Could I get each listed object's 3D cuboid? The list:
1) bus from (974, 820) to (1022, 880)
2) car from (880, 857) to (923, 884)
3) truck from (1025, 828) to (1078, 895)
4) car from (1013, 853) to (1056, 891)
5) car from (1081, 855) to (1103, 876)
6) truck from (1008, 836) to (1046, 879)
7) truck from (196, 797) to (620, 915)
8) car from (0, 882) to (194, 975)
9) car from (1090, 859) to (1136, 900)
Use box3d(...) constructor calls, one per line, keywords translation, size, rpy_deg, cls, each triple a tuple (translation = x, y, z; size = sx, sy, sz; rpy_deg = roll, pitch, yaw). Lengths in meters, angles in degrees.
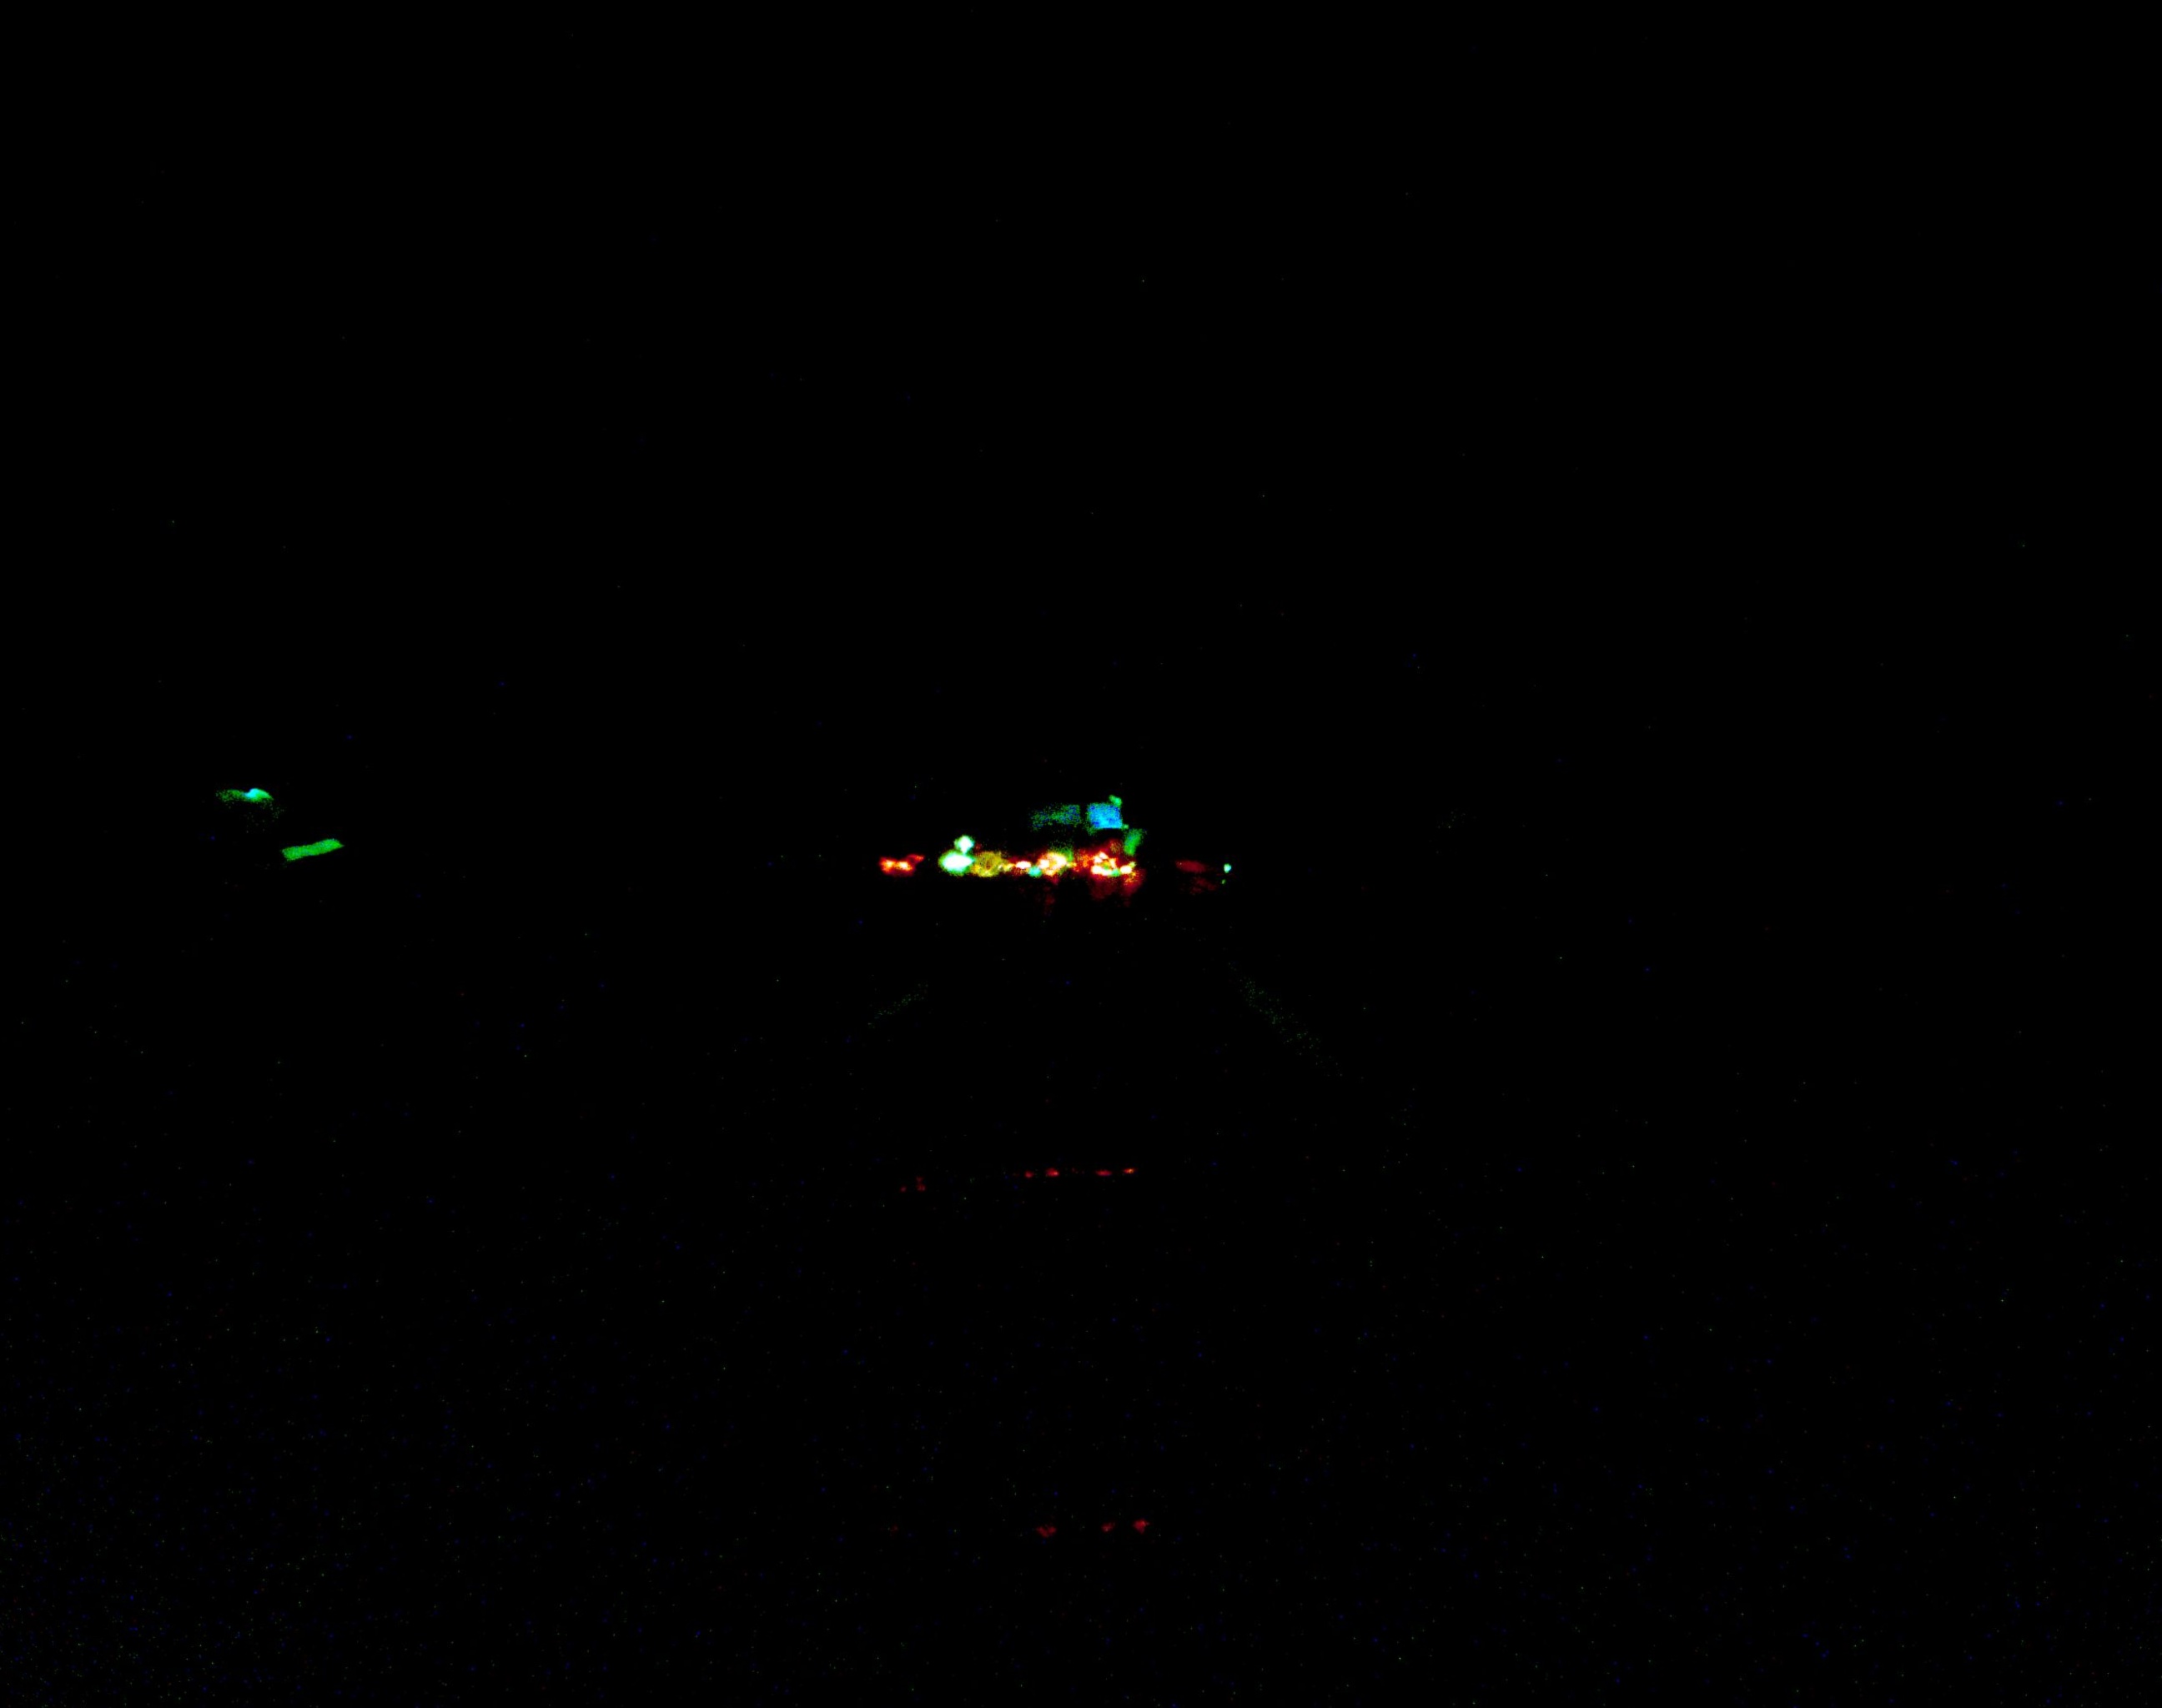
box3d(translation=(-6.589, -0.250, 66.100), size=(3.088, 4.508, 10.904), rpy_deg=(0, -1, -2), cls="bus")
box3d(translation=(-10.782, 0.984, 49.132), size=(1.990, 1.596, 3.993), rpy_deg=(0, -1, -5), cls="car")
box3d(translation=(-2.492, 0.692, 74.443), size=(4.195, 5.648, 11.468), rpy_deg=(0, -1, 1), cls="truck")
box3d(translation=(-2.518, 0.958, 45.038), size=(2.119, 2.014, 4.644), rpy_deg=(0, -1, -1), cls="car")
box3d(translation=(1.041, 1.137, 81.696), size=(2.119, 2.014, 4.644), rpy_deg=(0, -1, -1), cls="car")
box3d(translation=(-7.290, 0.527, 111.060), size=(4.195, 5.648, 11.468), rpy_deg=(0, -1, 1), cls="truck")
box3d(translation=(-26.966, 0.167, 35.326), size=(3.485, 3.888, 17.189), rpy_deg=(0, -1, 2), cls="truck")
box3d(translation=(-19.758, 1.339, 15.002), size=(1.873, 1.557, 4.461), rpy_deg=(0, -1, 1), cls="car")
box3d(translation=(1.469, 1.135, 37.601), size=(1.986, 1.807, 4.001), rpy_deg=(0, -1, 2), cls="car")
